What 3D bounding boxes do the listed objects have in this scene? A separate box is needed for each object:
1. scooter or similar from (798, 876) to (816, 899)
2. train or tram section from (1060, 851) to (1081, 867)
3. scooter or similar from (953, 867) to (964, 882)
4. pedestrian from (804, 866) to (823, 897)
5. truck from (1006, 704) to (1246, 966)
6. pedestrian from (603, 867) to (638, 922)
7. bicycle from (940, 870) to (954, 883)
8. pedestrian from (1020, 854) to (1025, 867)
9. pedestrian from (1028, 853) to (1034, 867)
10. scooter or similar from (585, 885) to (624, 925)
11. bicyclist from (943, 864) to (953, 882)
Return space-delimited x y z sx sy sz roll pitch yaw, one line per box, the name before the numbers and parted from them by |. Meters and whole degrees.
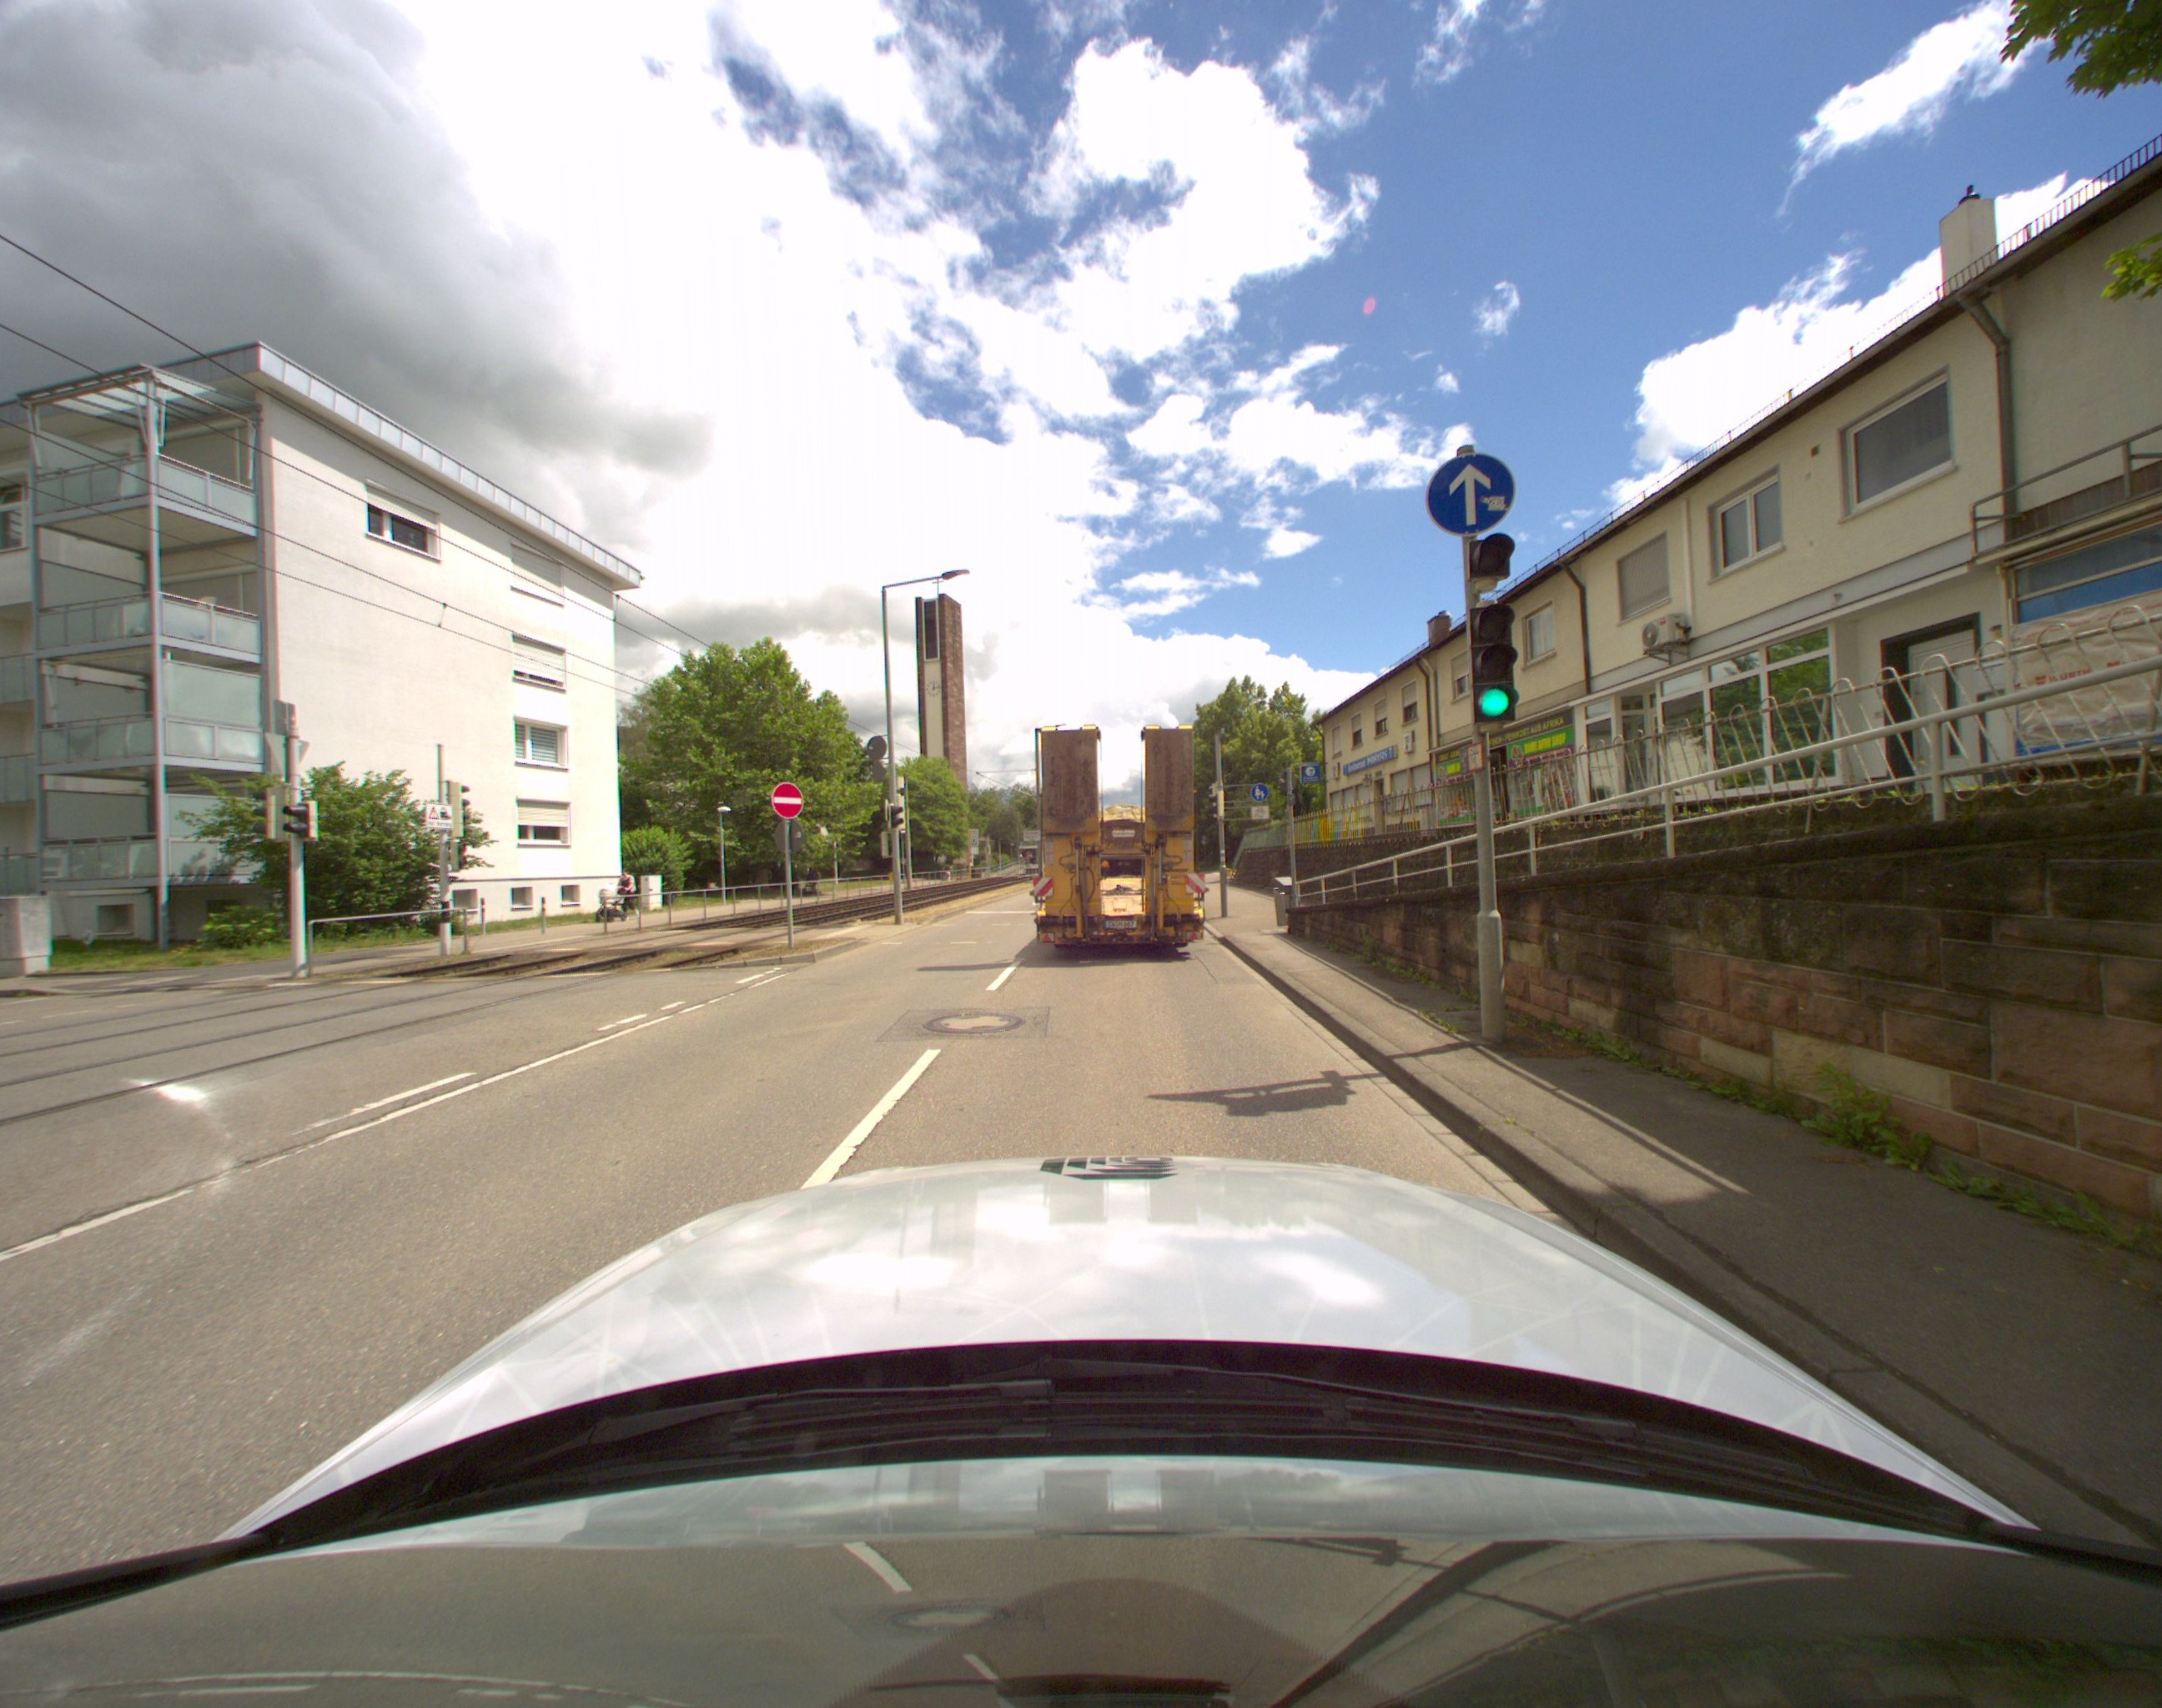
scooter or similar | -14.026 1.719 41.763 0.602 1.115 0.821 -1 -1 2
train or tram section | -2.137 1.126 179.502 3.094 3.465 18.843 0 -1 4
scooter or similar | -10.739 1.768 71.283 0.646 1.237 1.403 0 0 4
pedestrian | -14.000 1.431 42.631 0.610 1.540 0.874 -1 -1 2
truck | 0.828 -0.216 18.789 3.390 3.732 13.741 -2 -1 1
pedestrian | -14.372 1.249 25.435 0.642 1.692 0.680 -1 -1 3
bicycle | -10.758 1.790 65.461 0.635 0.994 1.930 0 -1 4
pedestrian | -8.145 0.891 113.674 0.582 1.778 0.576 0 -1 3
pedestrian | -7.241 0.827 118.352 0.709 2.014 0.732 0 -1 1
scooter or similar | -14.410 1.535 24.644 0.605 1.163 0.892 -2 -1 3
bicyclist | -10.732 1.501 65.734 0.630 1.429 0.791 0 -1 3
